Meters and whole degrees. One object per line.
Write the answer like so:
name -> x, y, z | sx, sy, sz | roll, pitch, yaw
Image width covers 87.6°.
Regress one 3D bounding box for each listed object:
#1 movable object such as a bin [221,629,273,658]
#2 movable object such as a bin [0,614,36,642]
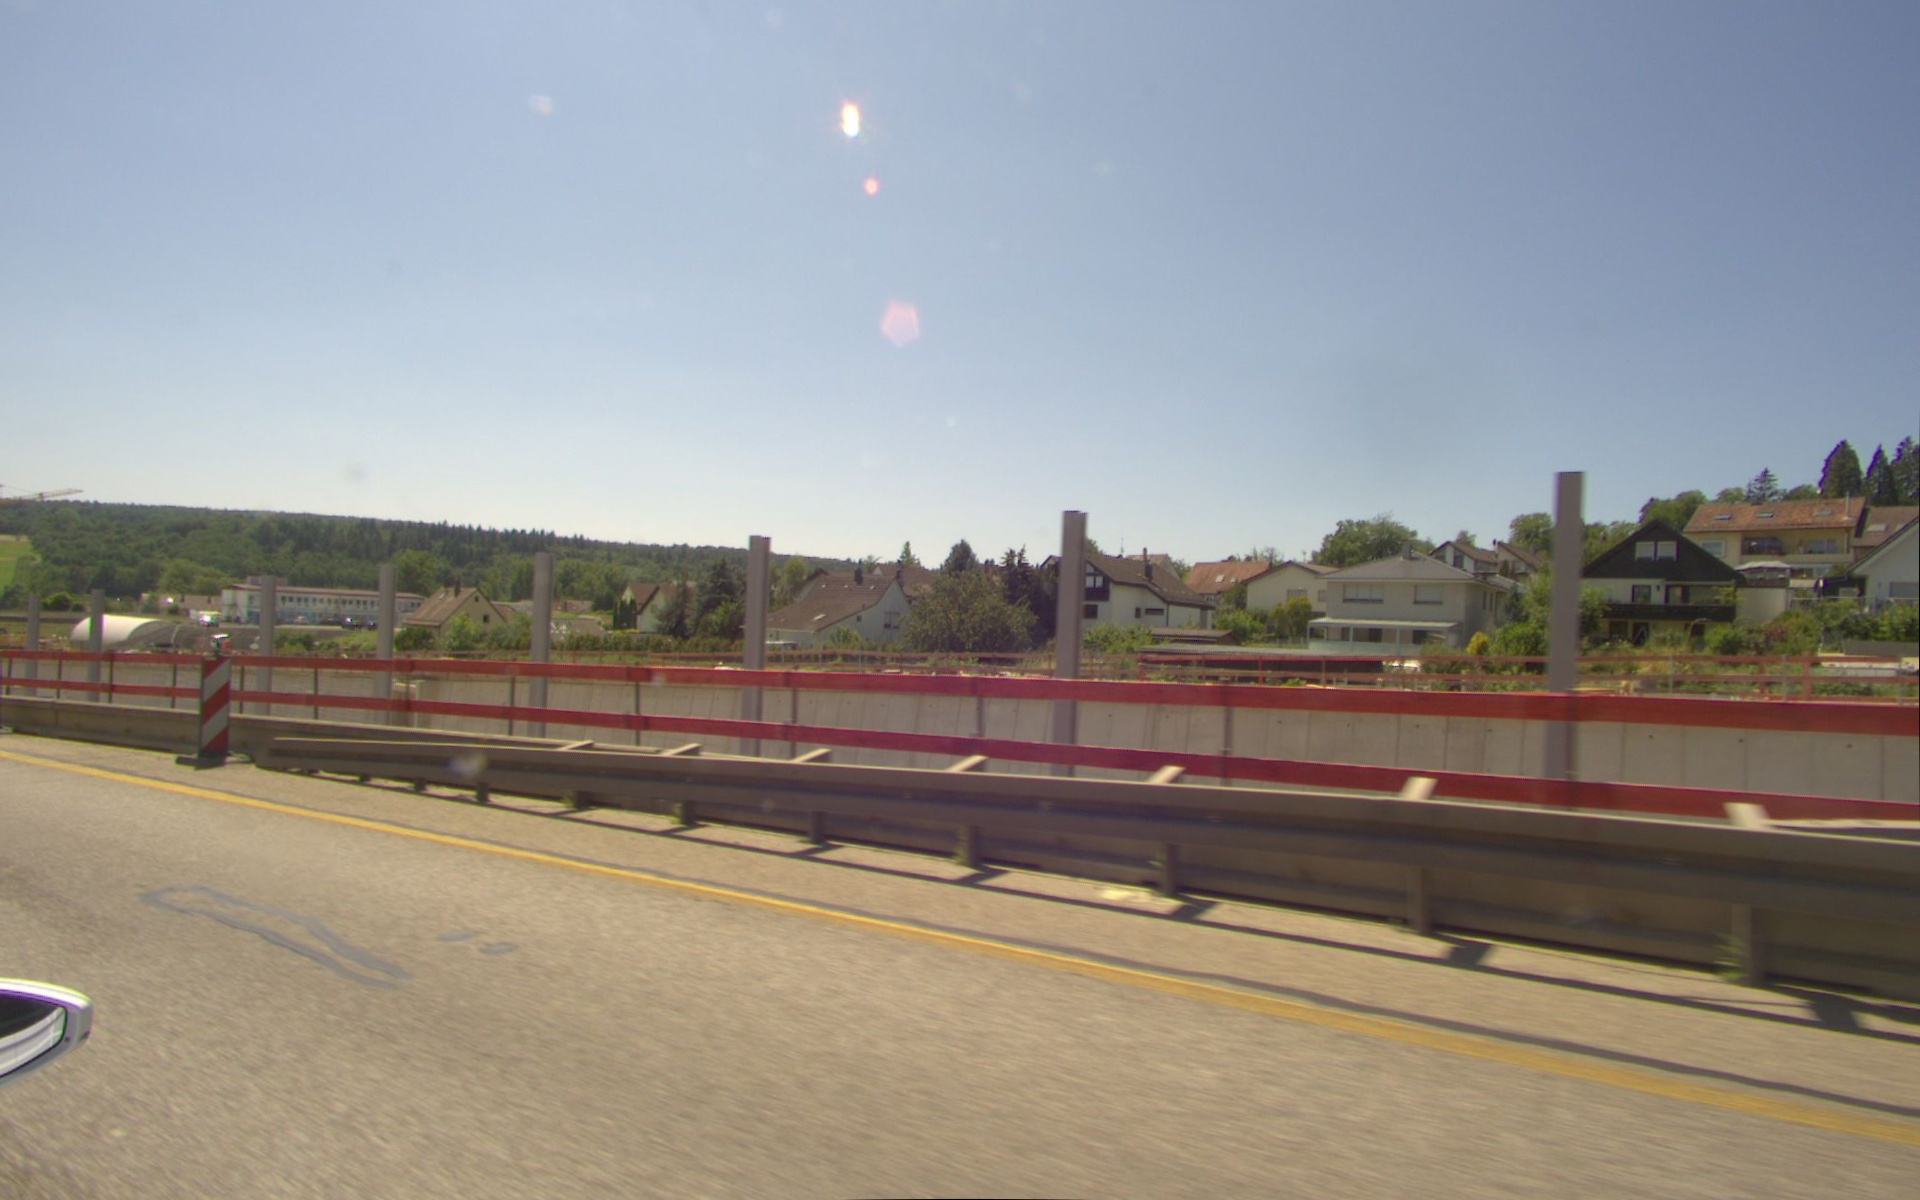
movable object such as a bin -> -56.726, 3.464, 79.648 | 4.093, 2.267, 1.990 | -1, -2, 33
movable object such as a bin -> -107.121, 3.171, 112.341 | 9.346, 2.946, 2.882 | -1, -2, 33
